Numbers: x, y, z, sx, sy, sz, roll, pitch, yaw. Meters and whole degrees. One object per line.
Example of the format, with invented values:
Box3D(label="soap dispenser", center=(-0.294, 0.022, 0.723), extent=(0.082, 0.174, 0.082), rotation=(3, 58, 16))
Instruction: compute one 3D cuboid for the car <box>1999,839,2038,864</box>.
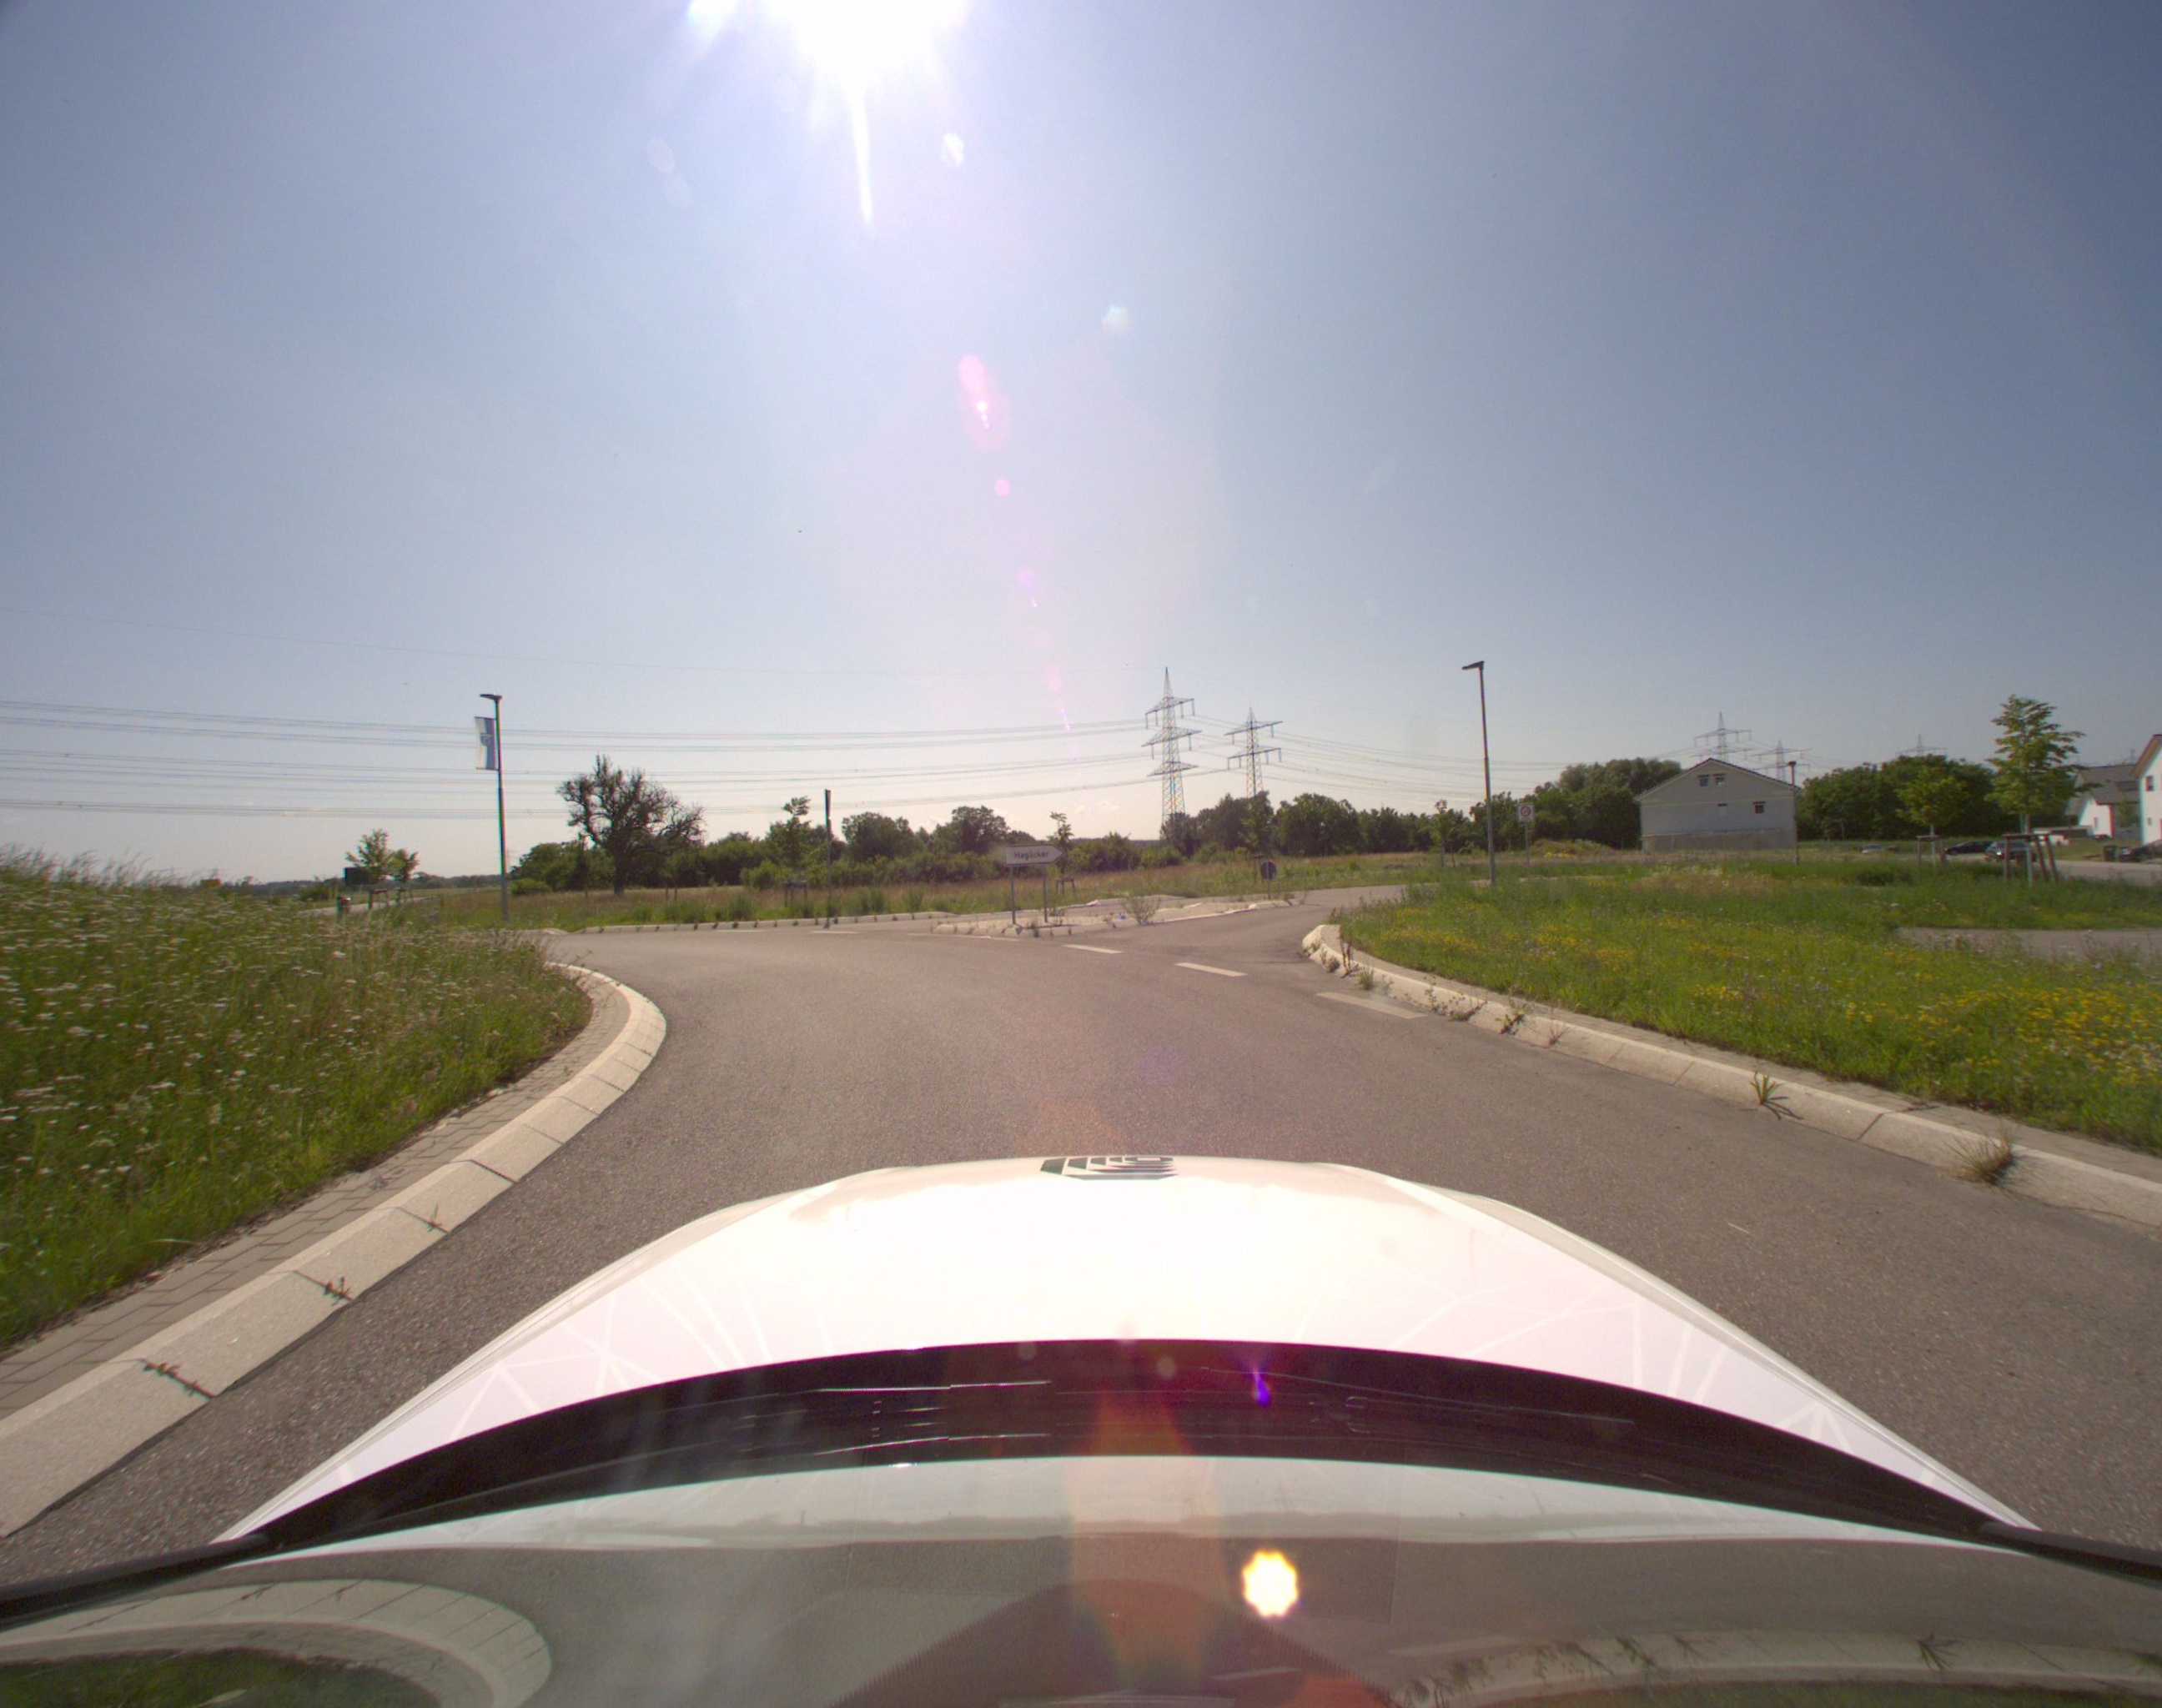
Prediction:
Box3D(label="car", center=(64.760, -0.167, 56.233), extent=(3.504, 1.662, 1.661), rotation=(0, -2, -40))

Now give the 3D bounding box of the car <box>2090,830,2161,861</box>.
Box3D(label="car", center=(64.783, -0.513, 49.547), extent=(3.949, 1.794, 2.012), rotation=(-3, -2, 42))

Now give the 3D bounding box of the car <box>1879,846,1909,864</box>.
Box3D(label="car", center=(78.267, 0.126, 78.405), extent=(3.504, 1.662, 1.661), rotation=(0, -2, -40))
